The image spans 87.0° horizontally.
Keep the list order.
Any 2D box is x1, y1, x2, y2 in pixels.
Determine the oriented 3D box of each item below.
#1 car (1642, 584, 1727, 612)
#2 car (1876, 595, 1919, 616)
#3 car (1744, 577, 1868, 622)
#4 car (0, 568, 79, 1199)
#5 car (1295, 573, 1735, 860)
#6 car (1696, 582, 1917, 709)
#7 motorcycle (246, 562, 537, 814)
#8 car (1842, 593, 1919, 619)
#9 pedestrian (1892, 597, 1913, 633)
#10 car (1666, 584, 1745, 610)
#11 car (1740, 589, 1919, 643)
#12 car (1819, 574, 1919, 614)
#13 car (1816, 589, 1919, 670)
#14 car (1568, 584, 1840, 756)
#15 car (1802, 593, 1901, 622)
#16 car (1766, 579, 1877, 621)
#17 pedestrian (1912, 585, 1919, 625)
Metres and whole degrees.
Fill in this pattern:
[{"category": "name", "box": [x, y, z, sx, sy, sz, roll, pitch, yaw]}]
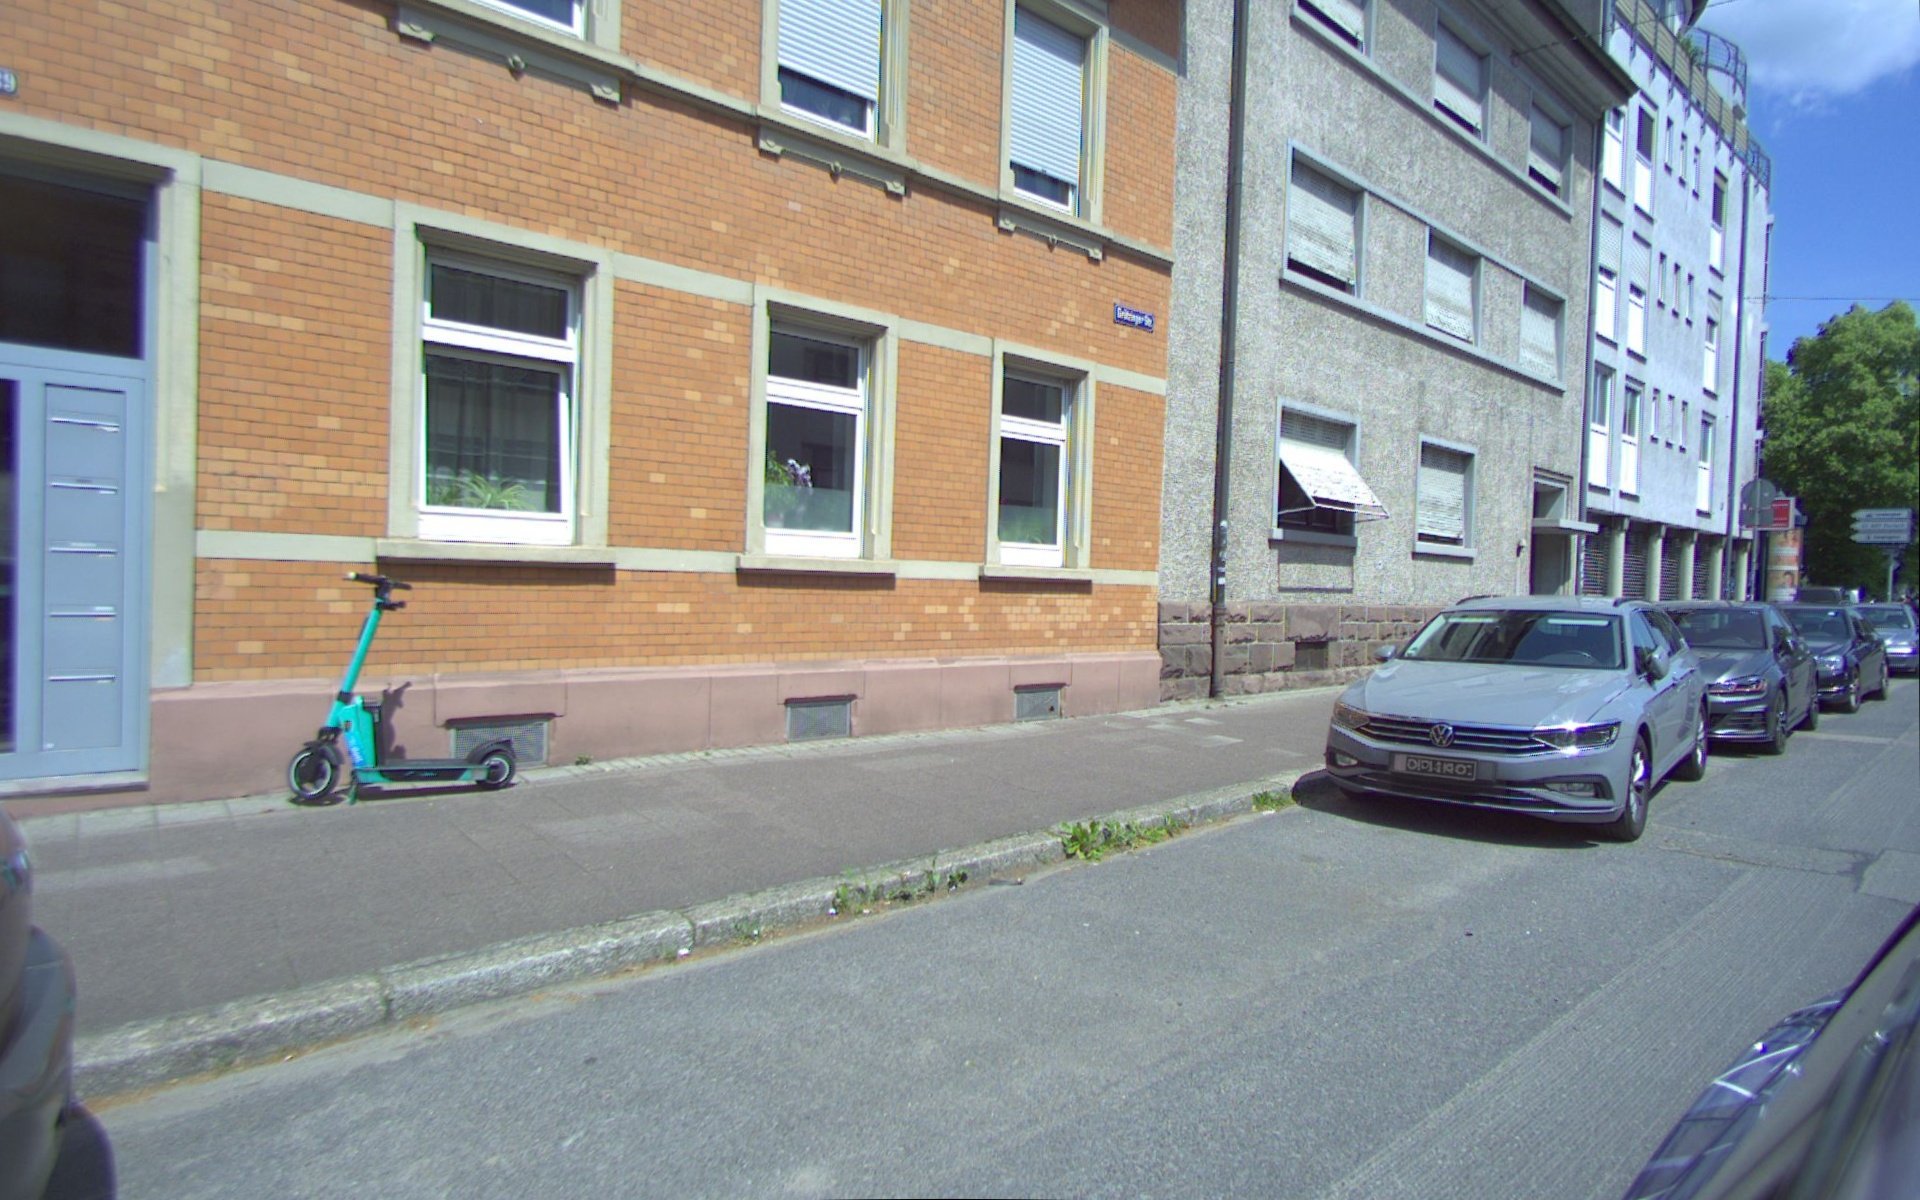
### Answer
[{"category": "car", "box": [45.827, -0.162, 64.083, 1.772, 1.490, 3.998, 0, 4, -39]}, {"category": "car", "box": [68.191, 0.395, 72.378, 3.833, 1.375, 1.606, 3, 2, 40]}, {"category": "car", "box": [37.566, -0.066, 45.000, 1.982, 1.772, 3.994, 0, 3, -42]}, {"category": "car", "box": [-3.359, 0.664, 0.737, 4.095, 1.397, 1.704, 0, 3, -42]}, {"category": "car", "box": [4.423, 0.585, 7.670, 1.854, 1.481, 4.480, 3, 3, 43]}, {"category": "car", "box": [12.322, 0.558, 14.638, 4.360, 1.491, 1.715, 0, 3, -41]}, {"category": "motorcycle", "box": [-3.176, 0.430, 5.704, 1.337, 1.239, 0.597, 0, 3, -40]}, {"category": "car", "box": [58.144, 0.372, 63.302, 1.778, 1.512, 4.331, 0, 1, -43]}, {"category": "pedestrian", "box": [43.669, 0.693, 46.895, 0.724, 1.613, 0.618, 0, 2, -42]}, {"category": "car", "box": [51.142, -0.229, 69.446, 1.772, 1.490, 3.998, 0, 4, -39]}, {"category": "car", "box": [27.183, 0.463, 31.288, 1.966, 1.382, 4.587, 0, 3, -43]}, {"category": "car", "box": [55.158, -0.393, 61.182, 2.069, 2.304, 4.611, 0, 1, -41]}, {"category": "car", "box": [18.831, 0.541, 20.611, 4.073, 1.472, 1.679, 0, 1, -43]}, {"category": "car", "box": [8.082, 0.600, 10.852, 3.981, 1.437, 1.653, 0, 3, -44]}, {"category": "car", "box": [50.461, 0.393, 57.356, 1.686, 1.491, 3.996, 0, 2, -39]}, {"category": "car", "box": [39.627, -0.023, 46.600, 3.766, 1.687, 1.637, 5, 3, 44]}, {"category": "pedestrian", "box": [44.214, 0.235, 46.455, 0.724, 1.786, 0.618, 0, 2, -42]}]
